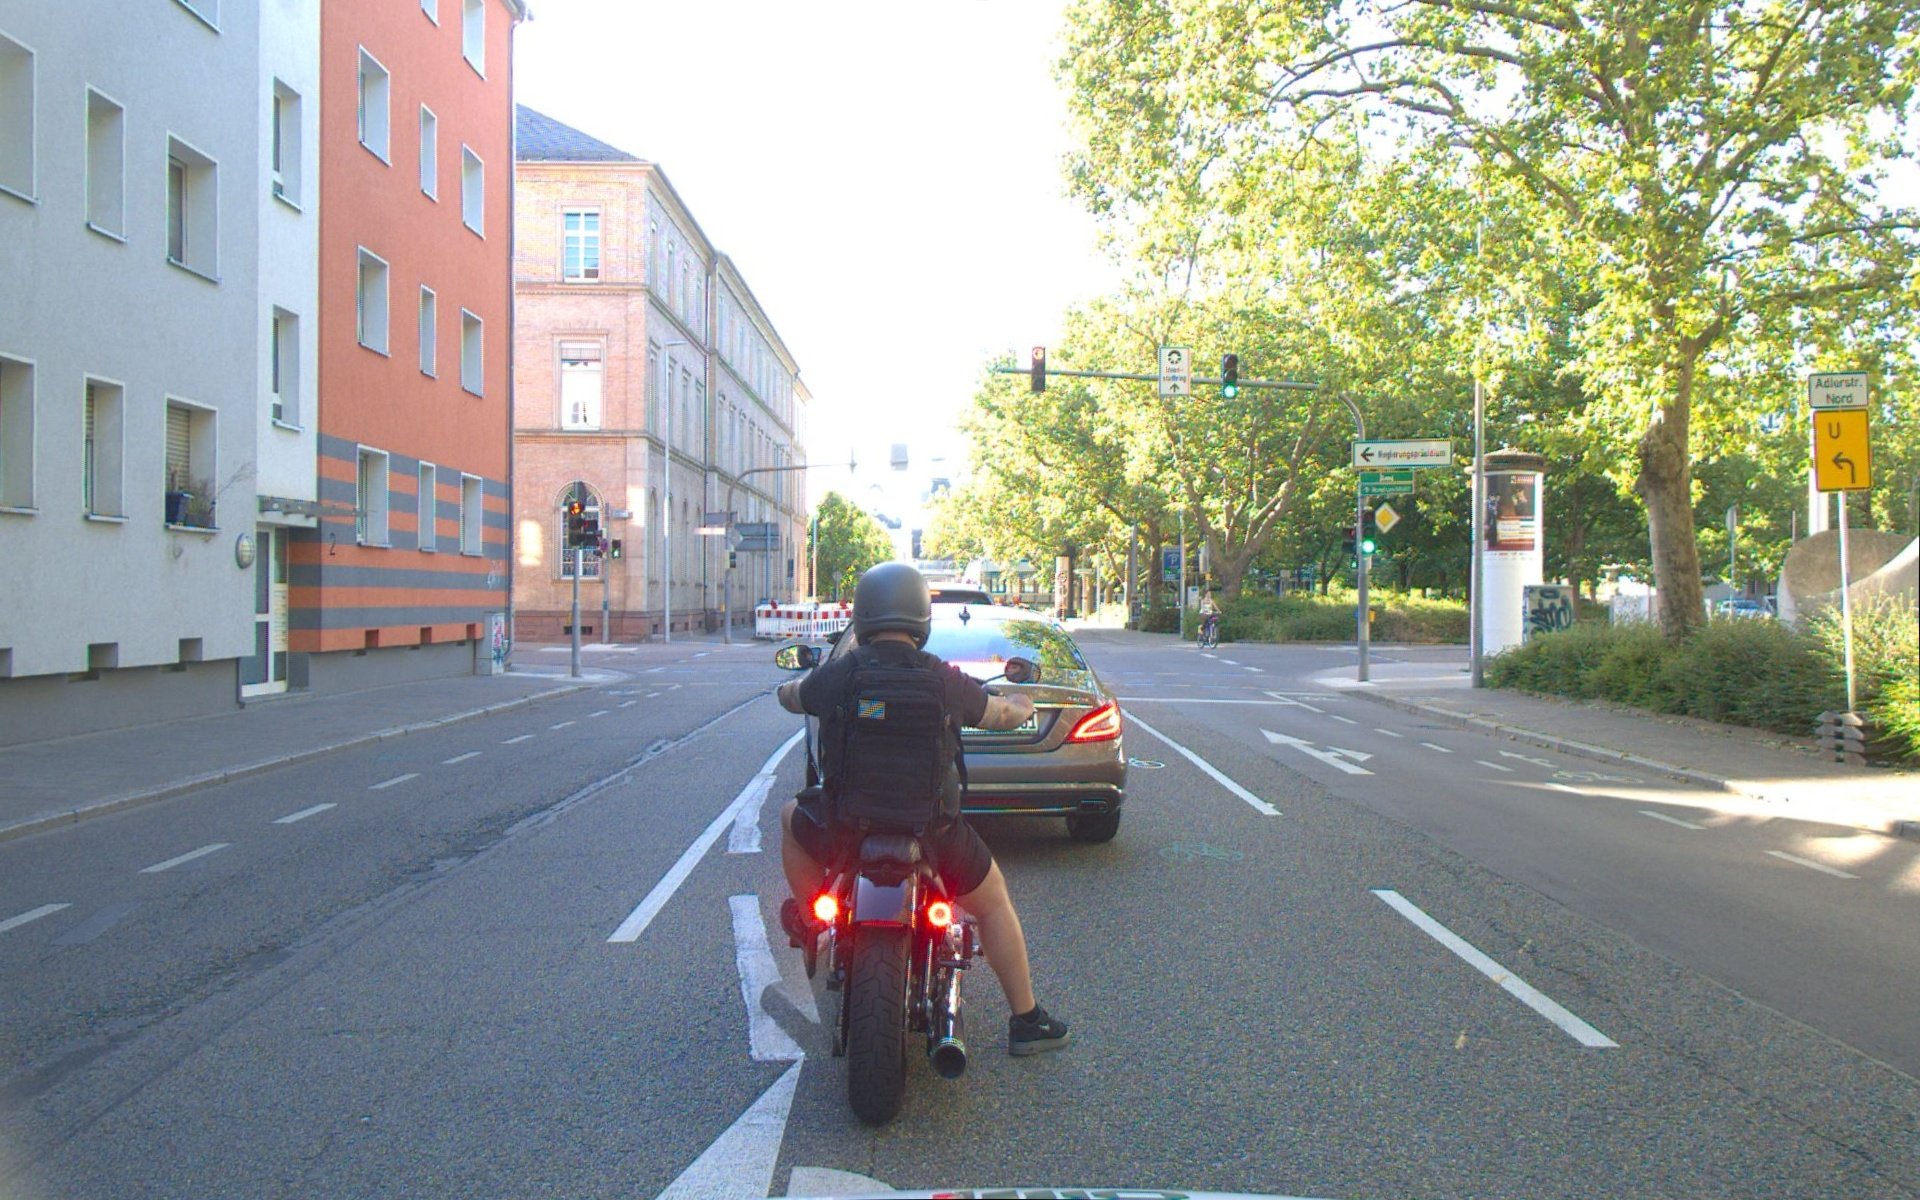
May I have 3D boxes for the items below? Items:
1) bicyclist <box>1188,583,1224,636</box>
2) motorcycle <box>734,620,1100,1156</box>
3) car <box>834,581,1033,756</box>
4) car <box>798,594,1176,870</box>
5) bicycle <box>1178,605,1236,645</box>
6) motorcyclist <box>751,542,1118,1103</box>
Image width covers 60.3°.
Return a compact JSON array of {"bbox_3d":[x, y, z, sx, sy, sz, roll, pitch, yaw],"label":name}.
[{"bbox_3d":[7.552,0.287,50.758,0.707,1.610,0.929,1,-1,-25],"label":"bicyclist"},{"bbox_3d":[-0.129,0.773,5.518,0.942,1.380,2.319,1,0,-1],"label":"motorcycle"},{"bbox_3d":[-0.344,0.608,16.748,1.777,1.563,3.846,0,0,-3],"label":"car"},{"bbox_3d":[-0.045,0.699,11.096,1.867,1.466,4.280,0,0,-9],"label":"car"},{"bbox_3d":[7.565,0.750,50.714,0.706,1.193,2.159,1,0,-24],"label":"bicycle"},{"bbox_3d":[-0.079,0.649,5.249,1.039,1.610,0.908,1,0,-1],"label":"motorcyclist"}]
